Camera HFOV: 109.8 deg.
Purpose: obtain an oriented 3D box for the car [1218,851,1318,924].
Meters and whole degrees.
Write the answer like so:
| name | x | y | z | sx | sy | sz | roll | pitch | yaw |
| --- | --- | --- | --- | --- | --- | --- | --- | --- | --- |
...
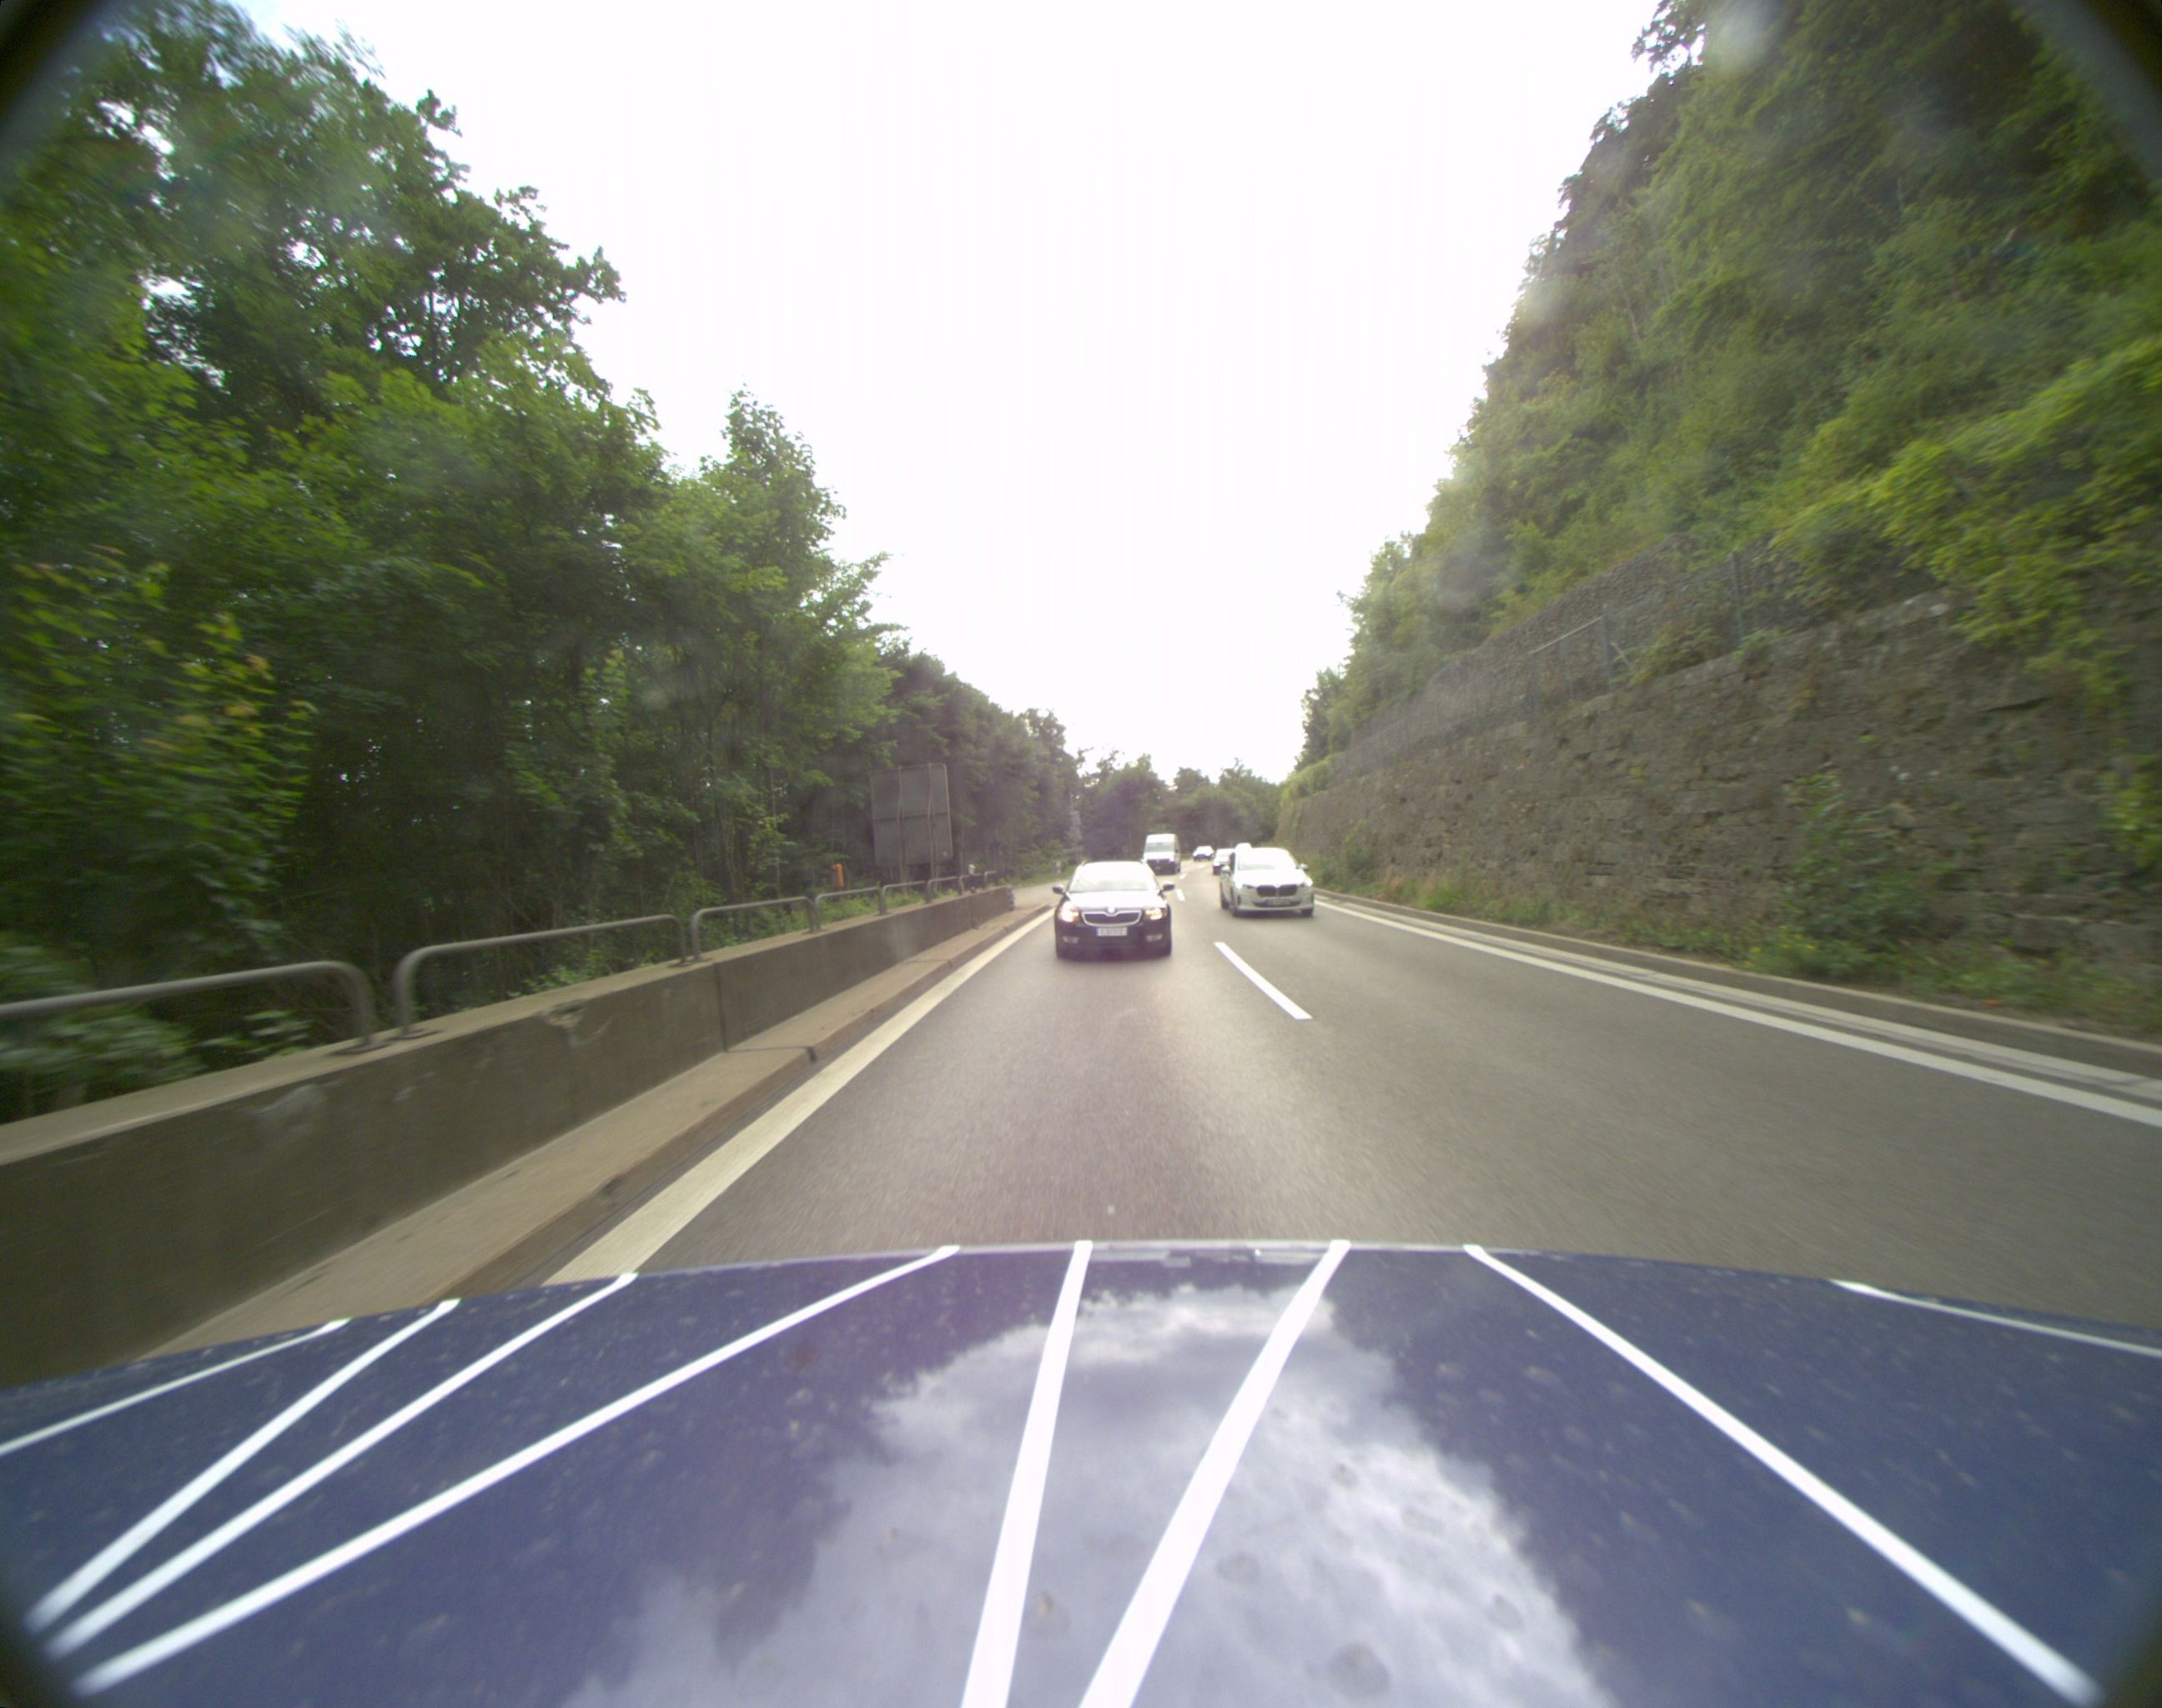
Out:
| name | x | y | z | sx | sy | sz | roll | pitch | yaw |
| --- | --- | --- | --- | --- | --- | --- | --- | --- | --- |
| car | 4.460 | 0.735 | 18.691 | 1.822 | 1.546 | 4.001 | -2 | 0 | 6 |

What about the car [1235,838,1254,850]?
| name | x | y | z | sx | sy | sz | roll | pitch | yaw |
| --- | --- | --- | --- | --- | --- | --- | --- | --- | --- |
| car | 22.103 | -1.411 | 102.636 | 1.820 | 1.546 | 4.006 | -2 | 0 | 23 |

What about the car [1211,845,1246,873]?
| name | x | y | z | sx | sy | sz | roll | pitch | yaw |
| --- | --- | --- | --- | --- | --- | --- | --- | --- | --- |
| car | 8.871 | 0.287 | 45.888 | 1.822 | 1.546 | 4.002 | -2 | 0 | 8 |

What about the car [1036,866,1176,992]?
| name | x | y | z | sx | sy | sz | roll | pitch | yaw |
| --- | --- | --- | --- | --- | --- | --- | --- | --- | --- |
| car | 0.406 | 0.939 | 11.369 | 1.638 | 1.384 | 4.499 | -2 | 0 | 3 |

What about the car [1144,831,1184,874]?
| name | x | y | z | sx | sy | sz | roll | pitch | yaw |
| --- | --- | --- | --- | --- | --- | --- | --- | --- | --- |
| car | 5.502 | -0.112 | 49.701 | 2.097 | 2.548 | 5.923 | -2 | 0 | 11 |

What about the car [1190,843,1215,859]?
| name | x | y | z | sx | sy | sz | roll | pitch | yaw |
| --- | --- | --- | --- | --- | --- | --- | --- | --- | --- |
| car | 12.667 | -0.300 | 79.040 | 1.820 | 1.546 | 4.005 | -2 | 0 | 20 |
